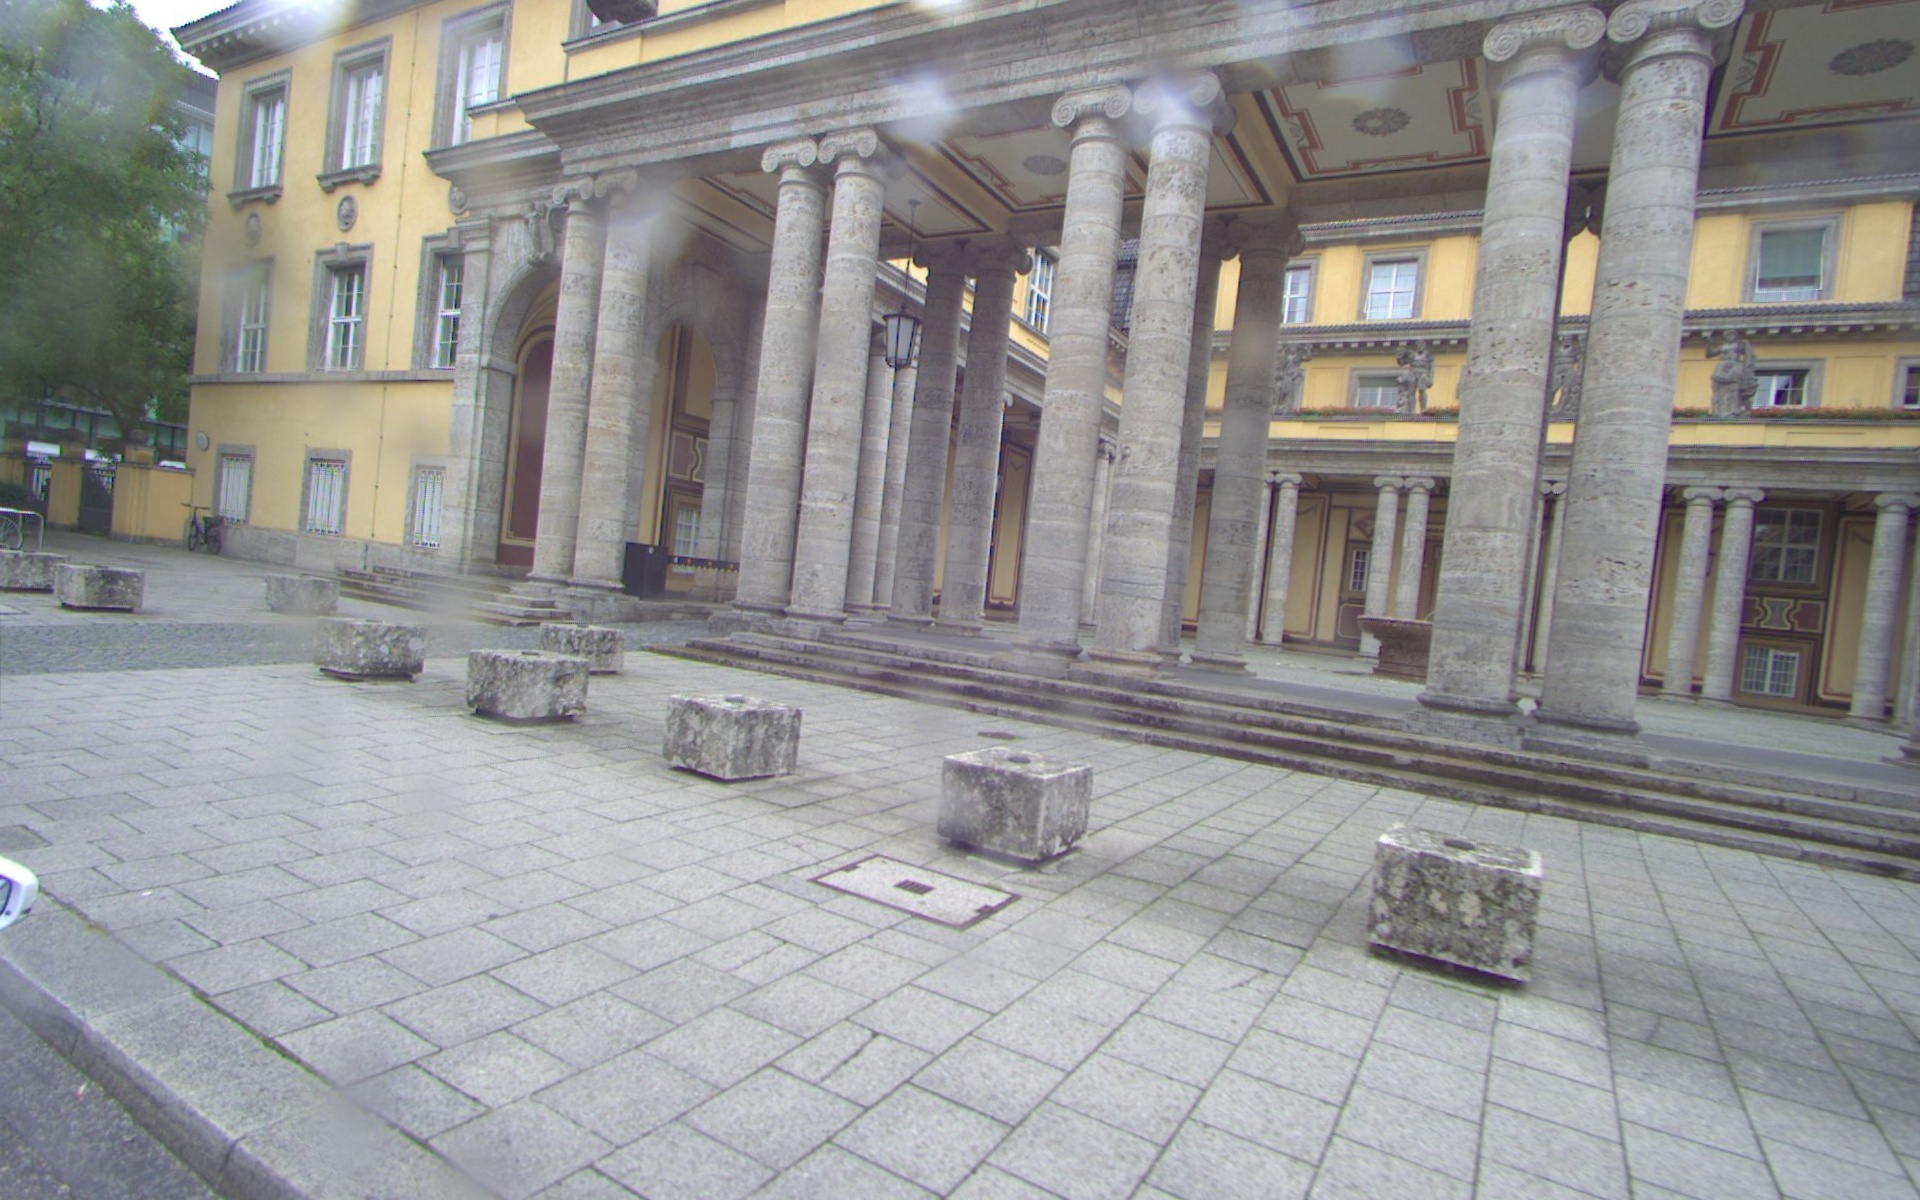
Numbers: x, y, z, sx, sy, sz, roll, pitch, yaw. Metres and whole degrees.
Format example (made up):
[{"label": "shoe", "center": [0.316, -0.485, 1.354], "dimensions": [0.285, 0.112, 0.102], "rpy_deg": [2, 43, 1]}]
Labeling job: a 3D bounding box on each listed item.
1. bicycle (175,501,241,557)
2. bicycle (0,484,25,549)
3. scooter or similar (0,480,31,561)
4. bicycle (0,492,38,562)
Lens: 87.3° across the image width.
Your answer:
[{"label": "bicycle", "center": [-18.517, -1.752, 24.752], "dimensions": [1.869, 1.169, 0.542], "rpy_deg": [8, 3, 30]}, {"label": "bicycle", "center": [-17.757, -1.552, 17.622], "dimensions": [0.463, 1.128, 1.932], "rpy_deg": [7, 2, 32]}, {"label": "scooter or similar", "center": [-15.242, -1.278, 15.632], "dimensions": [0.996, 1.238, 0.536], "rpy_deg": [5, 3, -15]}, {"label": "bicycle", "center": [-16.325, -1.260, 16.315], "dimensions": [0.463, 1.128, 1.934], "rpy_deg": [7, 2, 27]}]
